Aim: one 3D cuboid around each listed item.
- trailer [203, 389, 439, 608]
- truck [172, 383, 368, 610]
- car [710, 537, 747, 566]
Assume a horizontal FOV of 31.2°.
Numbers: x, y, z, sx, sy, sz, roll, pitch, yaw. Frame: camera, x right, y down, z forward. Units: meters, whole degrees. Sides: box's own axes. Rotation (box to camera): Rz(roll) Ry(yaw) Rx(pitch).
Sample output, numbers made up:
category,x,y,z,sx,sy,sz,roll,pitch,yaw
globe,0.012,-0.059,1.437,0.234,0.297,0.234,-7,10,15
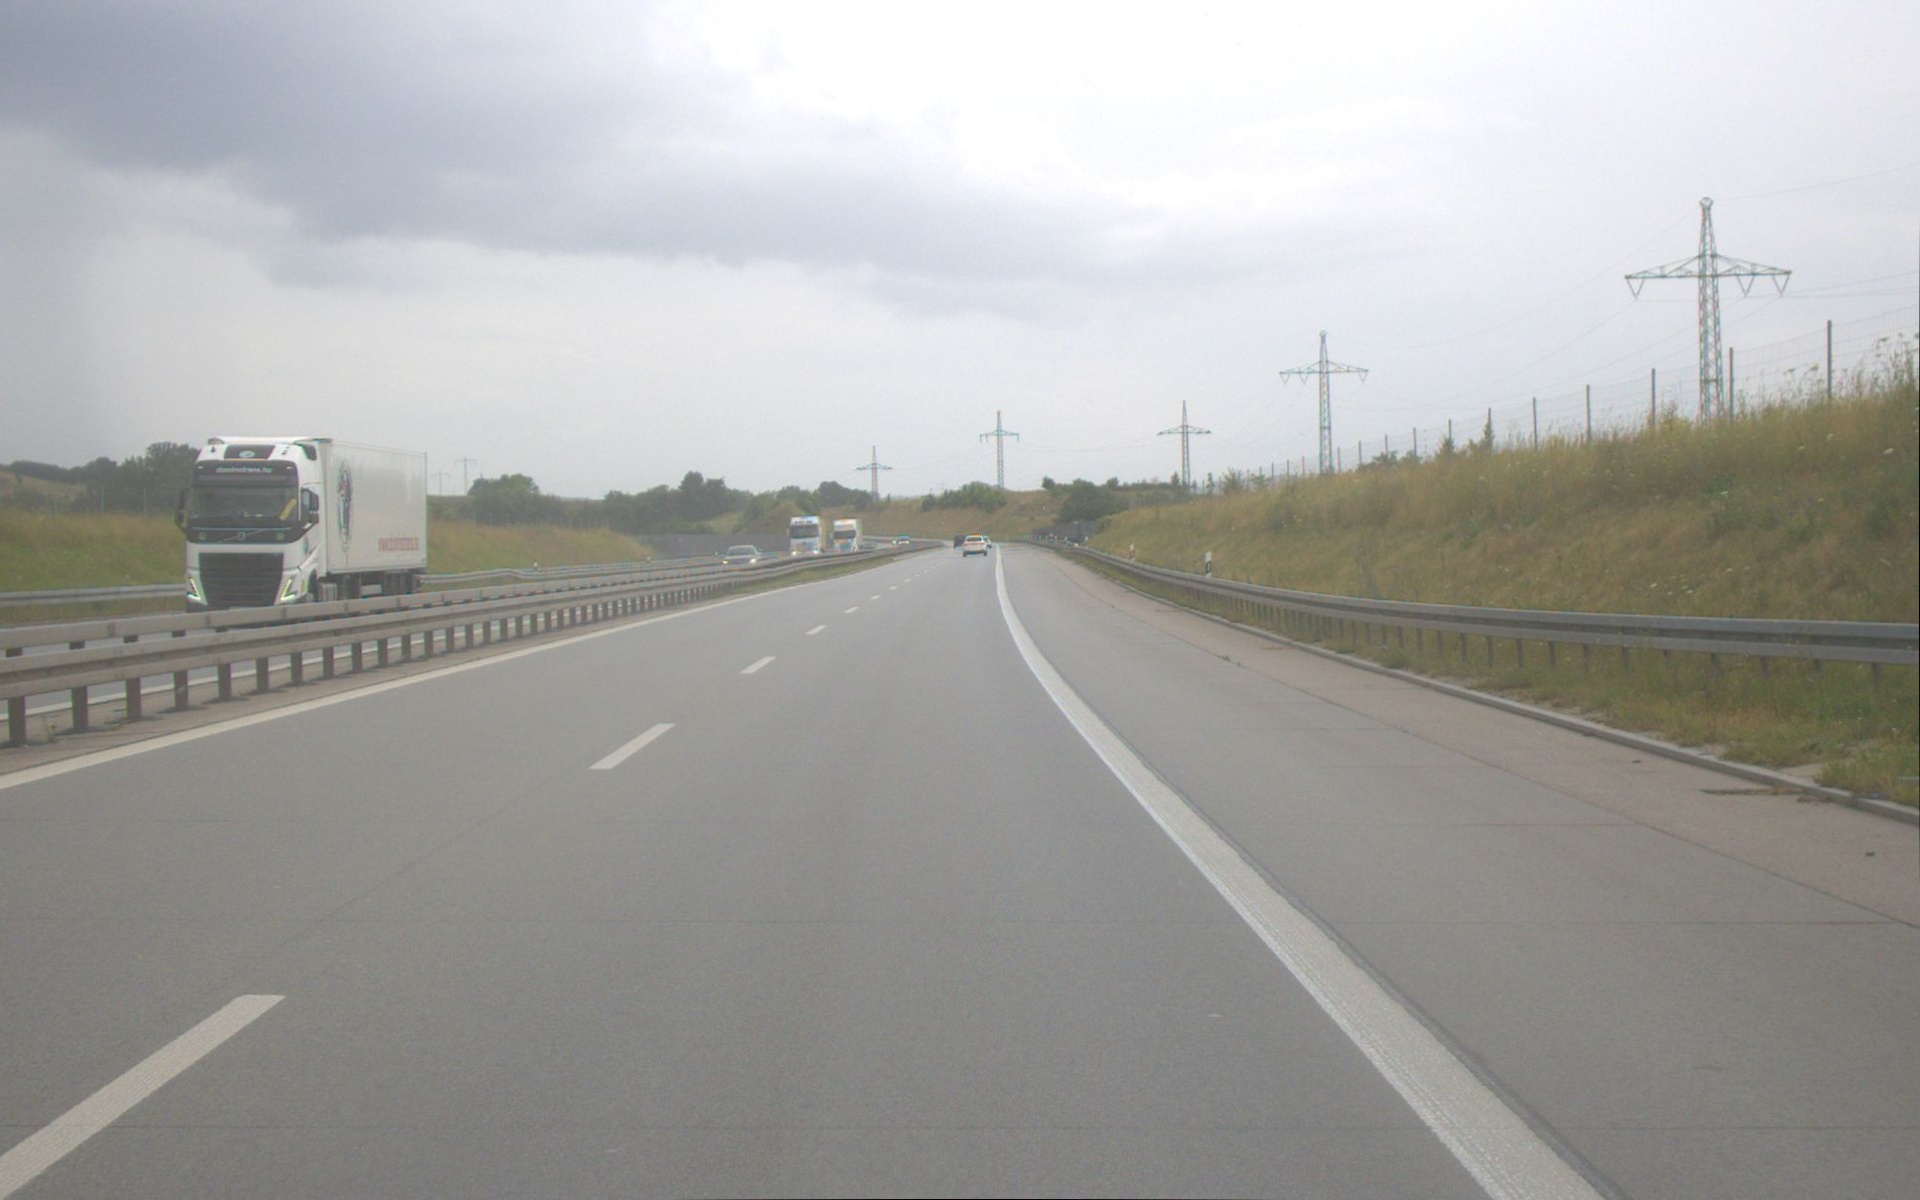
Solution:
category,x,y,z,sx,sy,sz,roll,pitch,yaw
trailer,-14.765,-2.310,80.786,2.795,4.634,14.848,-1,1,0
truck,-14.742,-2.192,73.946,2.795,4.631,6.921,-1,1,0
car,-11.792,-2.465,175.350,1.763,1.419,4.001,-1,1,-2
